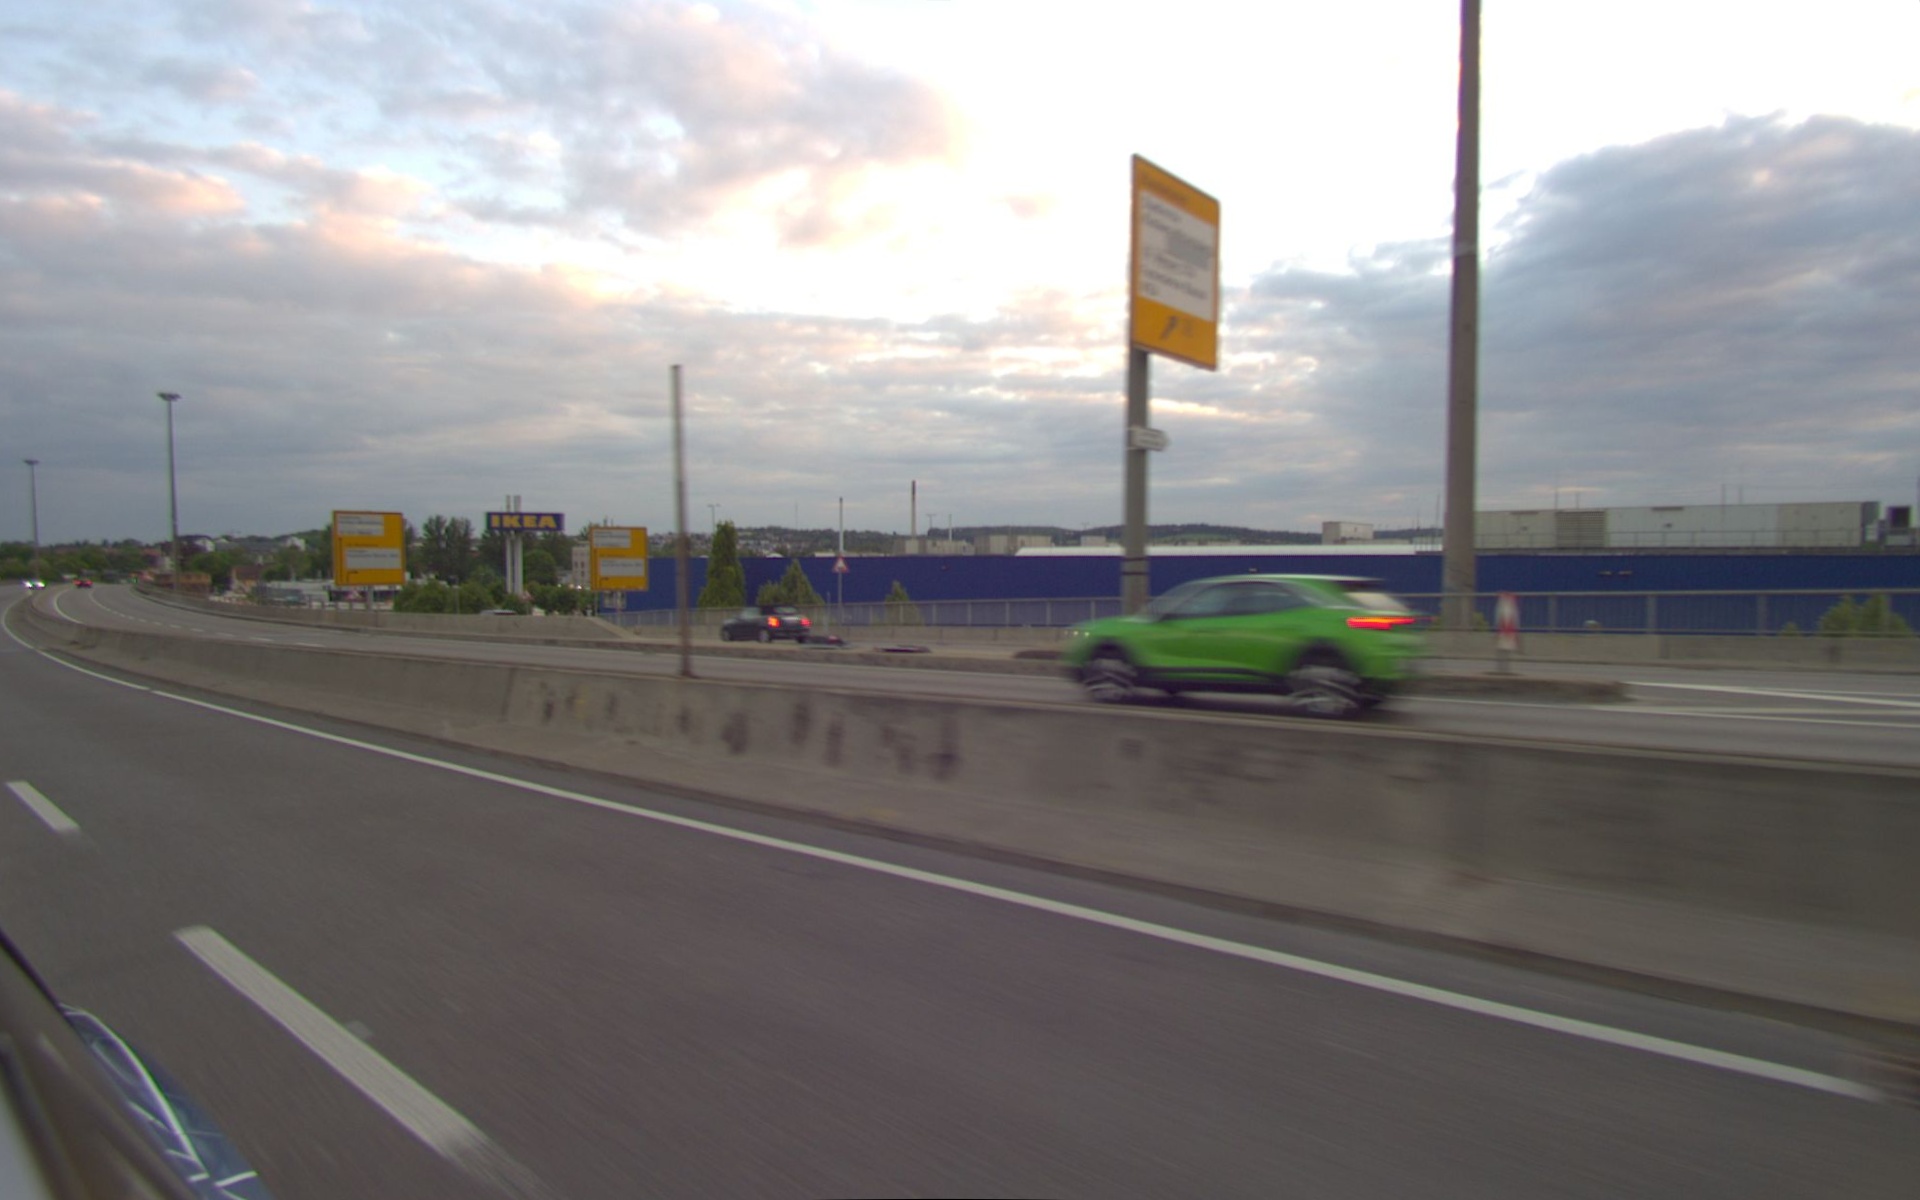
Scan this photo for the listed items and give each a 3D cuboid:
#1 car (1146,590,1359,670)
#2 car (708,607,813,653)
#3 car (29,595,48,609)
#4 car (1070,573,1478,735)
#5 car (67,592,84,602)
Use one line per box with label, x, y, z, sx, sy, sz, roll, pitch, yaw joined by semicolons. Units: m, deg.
car;6.448;0.618;22.590;4.163;1.608;1.877;-1;0;44
car;-7.029;1.025;35.450;3.843;1.497;1.776;-1;0;45
car;-139.829;0.304;153.580;1.969;2.029;4.007;-1;1;-40
car;3.392;0.524;11.418;4.080;1.506;1.692;-1;-1;42
car;-134.482;-0.490;153.903;1.806;1.491;4.295;-1;1;-39
